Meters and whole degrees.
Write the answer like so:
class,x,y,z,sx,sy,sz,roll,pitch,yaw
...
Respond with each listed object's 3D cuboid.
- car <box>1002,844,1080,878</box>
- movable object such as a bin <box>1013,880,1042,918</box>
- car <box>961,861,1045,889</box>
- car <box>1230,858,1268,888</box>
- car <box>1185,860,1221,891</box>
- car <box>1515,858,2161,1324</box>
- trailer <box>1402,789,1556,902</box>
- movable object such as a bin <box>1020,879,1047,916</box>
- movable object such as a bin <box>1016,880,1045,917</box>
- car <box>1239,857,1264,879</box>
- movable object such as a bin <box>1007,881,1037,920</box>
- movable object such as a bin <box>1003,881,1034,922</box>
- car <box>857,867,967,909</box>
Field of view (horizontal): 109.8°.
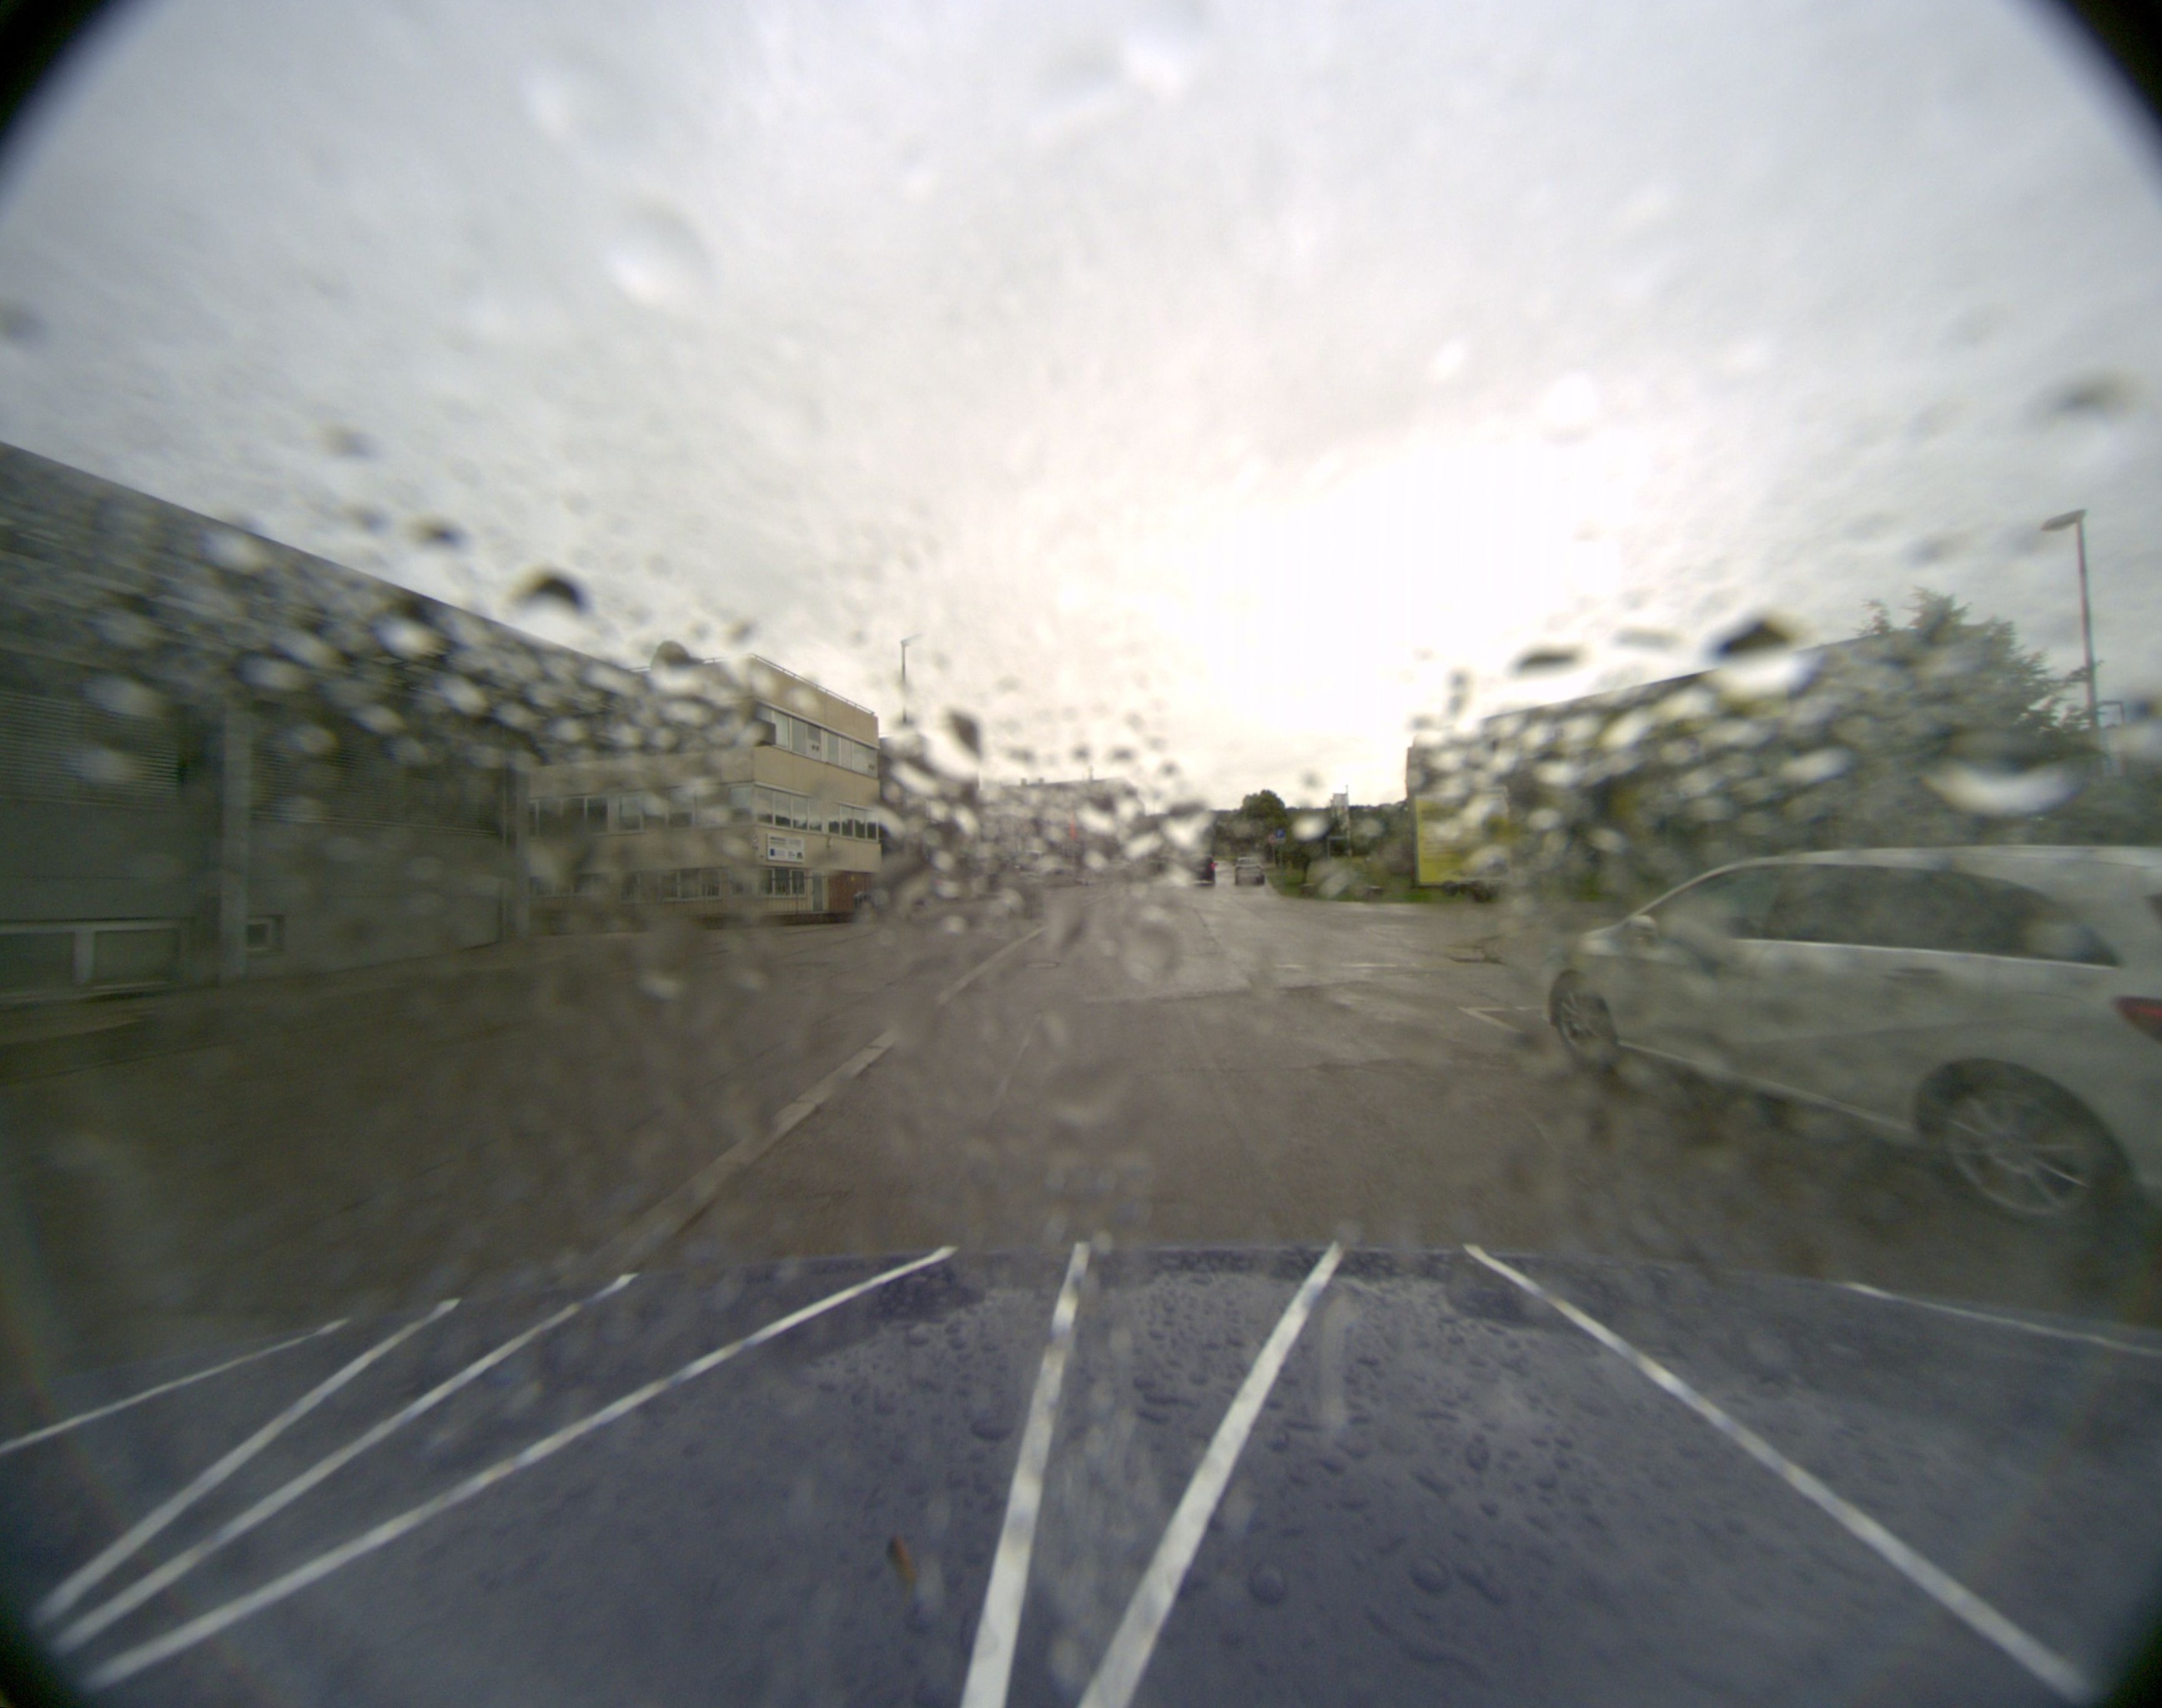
class,x,y,z,sx,sy,sz,roll,pitch,yaw
car,-2.838,0.503,54.908,5.147,2.280,2.204,-2,0,13
movable object such as a bin,-1.583,1.327,22.416,0.735,1.084,0.594,-1,0,5
car,-4.659,1.254,45.497,4.618,1.488,1.943,-2,0,11
car,11.423,1.281,51.919,1.998,1.902,4.002,-1,-1,5
car,8.049,1.392,50.381,2.066,2.001,4.514,-1,-1,6
car,4.530,0.813,4.278,1.739,1.527,4.250,-2,0,1
trailer,15.452,-0.272,29.682,2.393,4.065,4.687,-2,0,-41
movable object such as a bin,-1.470,1.347,23.658,0.735,1.084,0.594,-1,0,5
movable object such as a bin,-1.527,1.334,23.038,0.735,1.084,0.594,-1,0,5
car,16.192,1.289,72.184,1.996,2.001,4.005,-1,0,17
movable object such as a bin,-1.676,1.323,21.804,0.735,1.084,0.594,-1,0,5
movable object such as a bin,-1.733,1.317,21.196,0.735,1.084,0.594,-1,0,5
car,-6.391,1.291,28.880,3.746,1.531,1.632,-1,-1,9
